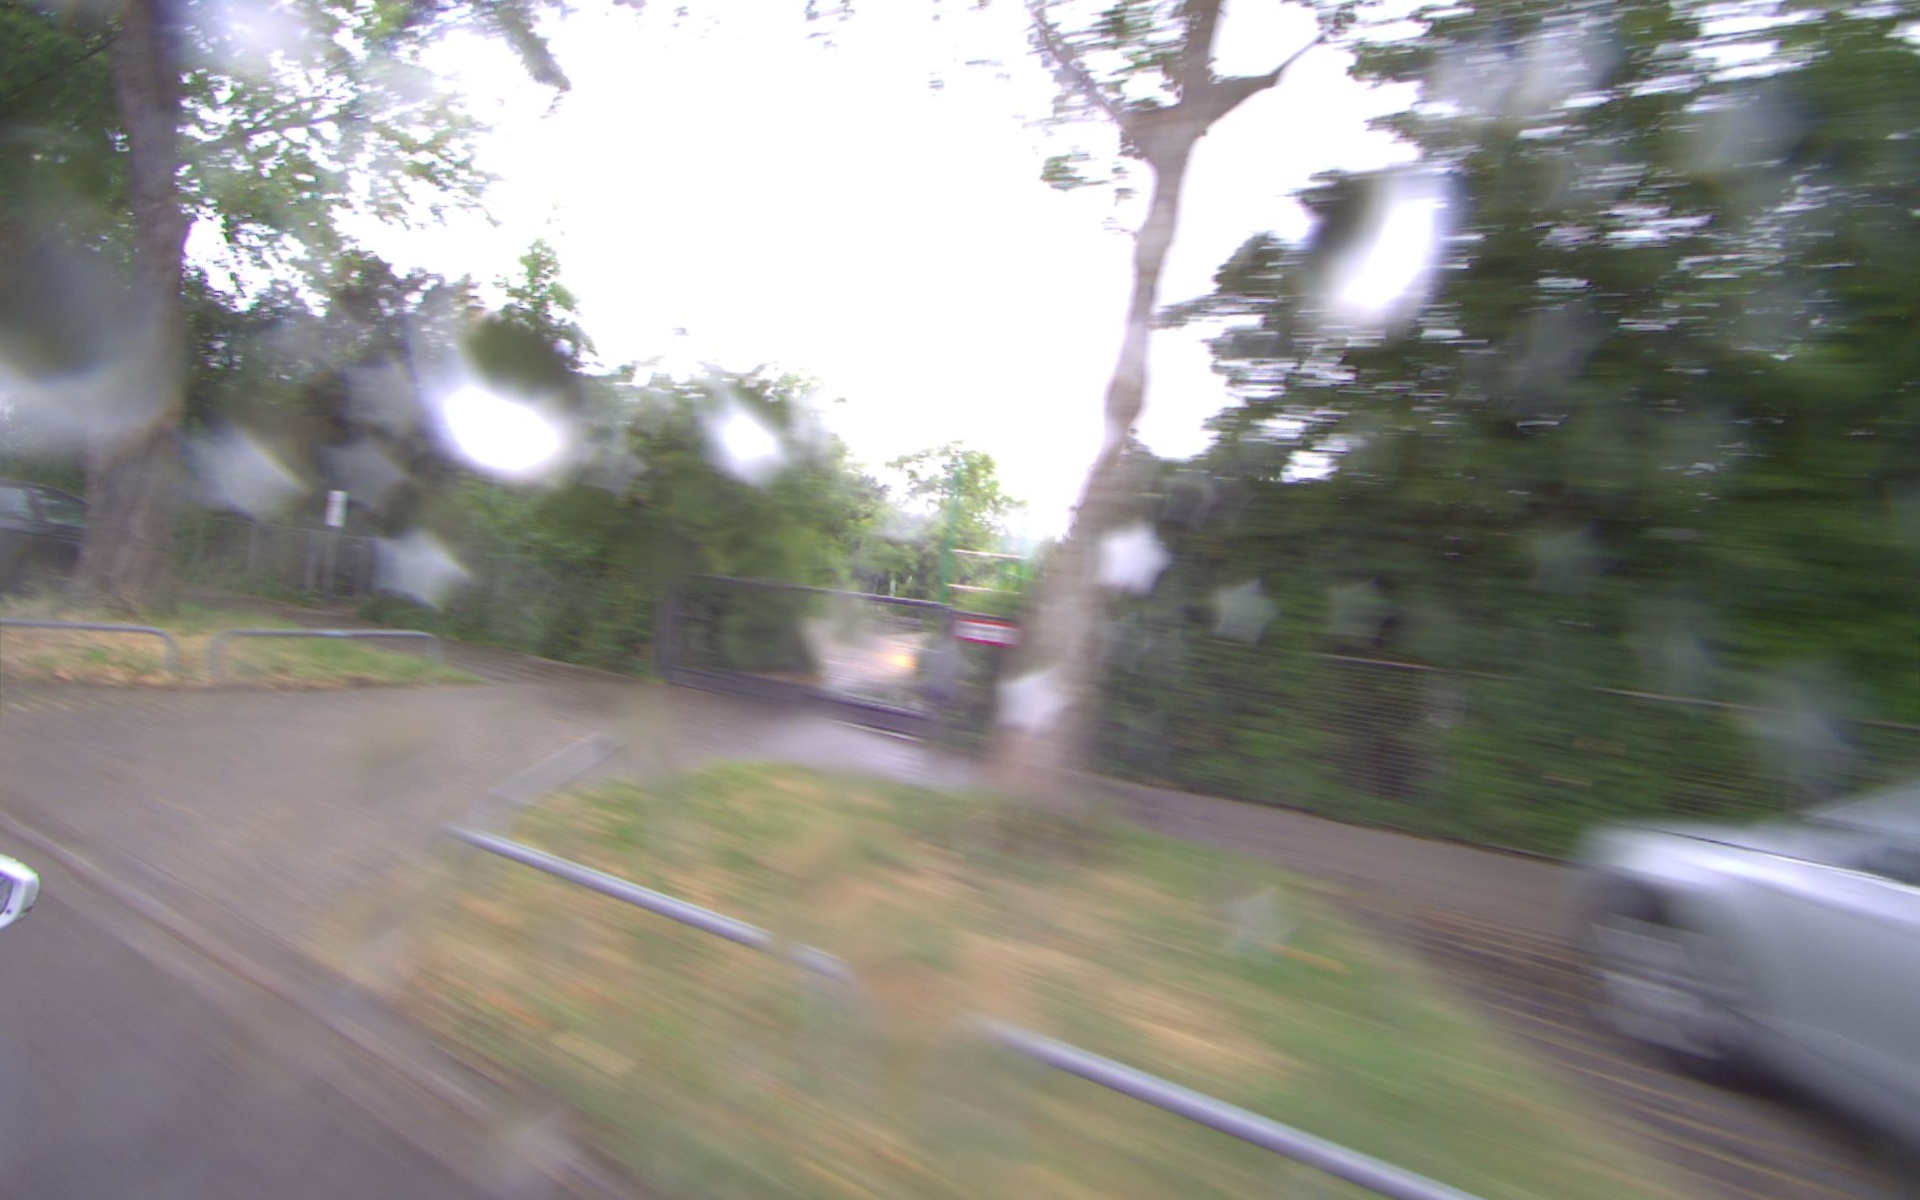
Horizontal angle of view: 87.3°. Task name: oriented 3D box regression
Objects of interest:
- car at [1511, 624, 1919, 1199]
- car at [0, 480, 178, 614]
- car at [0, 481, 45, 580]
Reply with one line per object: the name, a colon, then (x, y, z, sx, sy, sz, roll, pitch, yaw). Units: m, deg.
car: (3.547, 1.091, 2.317, 1.853, 1.565, 4.555, 7, 2, 0)
car: (-12.158, -0.715, 12.688, 1.589, 1.586, 3.712, 7, 1, -1)
car: (-17.279, -1.283, 15.594, 1.959, 1.689, 4.770, 7, 0, -5)
